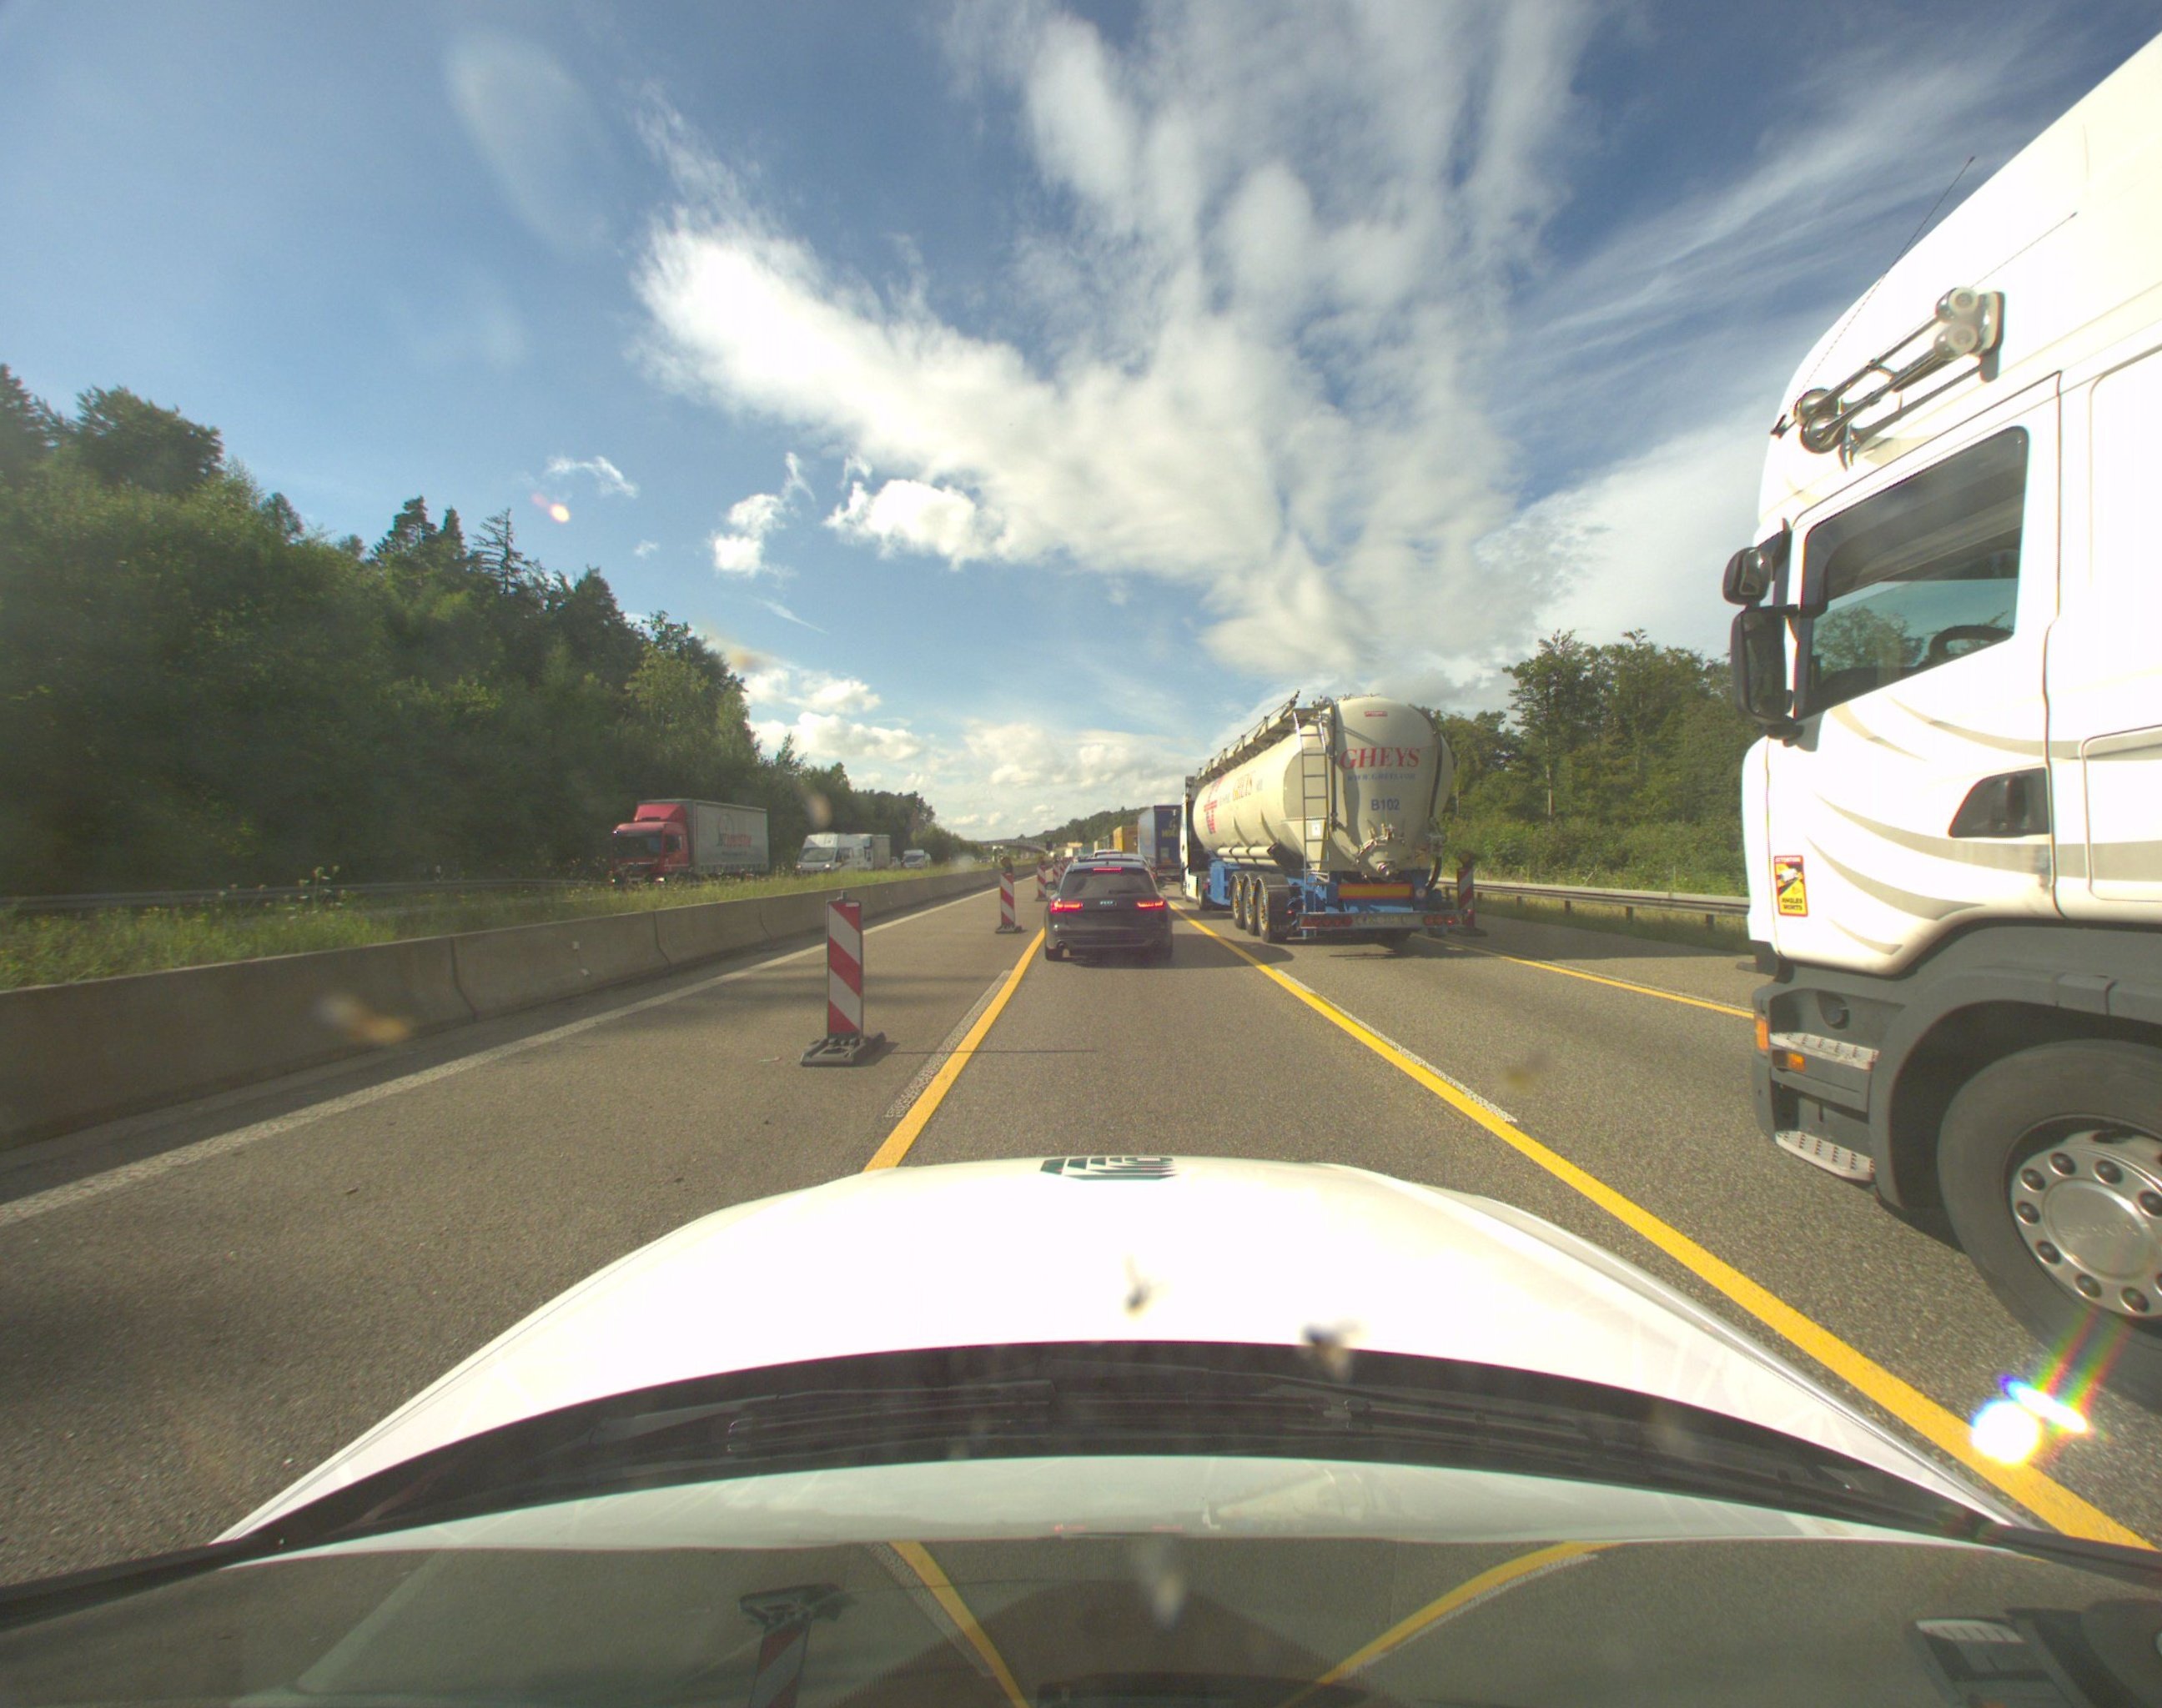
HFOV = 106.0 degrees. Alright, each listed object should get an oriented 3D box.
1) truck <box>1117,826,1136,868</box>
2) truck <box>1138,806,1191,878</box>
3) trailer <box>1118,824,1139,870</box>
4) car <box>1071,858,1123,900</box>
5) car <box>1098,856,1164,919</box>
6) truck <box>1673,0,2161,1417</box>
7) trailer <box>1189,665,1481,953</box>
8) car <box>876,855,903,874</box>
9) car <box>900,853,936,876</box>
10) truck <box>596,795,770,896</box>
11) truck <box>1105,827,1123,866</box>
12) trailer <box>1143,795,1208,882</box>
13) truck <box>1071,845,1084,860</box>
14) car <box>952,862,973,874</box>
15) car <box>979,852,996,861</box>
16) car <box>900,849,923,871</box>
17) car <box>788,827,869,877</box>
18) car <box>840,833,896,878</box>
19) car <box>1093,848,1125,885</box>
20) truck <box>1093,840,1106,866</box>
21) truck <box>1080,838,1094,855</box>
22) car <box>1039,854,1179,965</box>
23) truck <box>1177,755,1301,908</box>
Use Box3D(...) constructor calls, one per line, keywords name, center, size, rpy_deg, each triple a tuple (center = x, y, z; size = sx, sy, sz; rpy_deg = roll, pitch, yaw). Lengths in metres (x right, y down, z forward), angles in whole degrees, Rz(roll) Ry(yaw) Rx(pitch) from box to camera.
Box3D(name="truck", center=(4.233, -0.606, 76.557), size=(1.604, 3.897, 4.072), rpy_deg=(0, -1, 1))
Box3D(name="truck", center=(5.355, -0.669, 53.407), size=(2.796, 4.370, 7.793), rpy_deg=(0, -1, 1))
Box3D(name="trailer", center=(4.188, -0.596, 72.857), size=(1.611, 3.918, 6.489), rpy_deg=(0, -1, 1))
Box3D(name="car", center=(0.578, 0.838, 28.921), size=(1.745, 1.397, 3.609), rpy_deg=(0, -1, 1))
Box3D(name="car", center=(1.193, 0.795, 20.434), size=(1.518, 1.439, 3.286), rpy_deg=(0, -1, 1))
Box3D(name="truck", center=(3.996, -0.587, 0.838), size=(2.659, 3.959, 5.711), rpy_deg=(0, 0, 1))
Box3D(name="trailer", center=(4.308, -0.595, 17.463), size=(2.634, 3.943, 12.600), rpy_deg=(0, 0, 1))
Box3D(name="car", center=(-21.745, 1.190, 92.669), size=(1.986, 2.014, 4.001), rpy_deg=(0, -1, 1))
Box3D(name="car", center=(-13.187, 0.827, 66.134), size=(1.937, 1.813, 4.120), rpy_deg=(0, -1, 2))
Box3D(name="truck", center=(-17.825, -0.329, 37.595), size=(2.790, 3.992, 10.189), rpy_deg=(0, 0, 2))
Box3D(name="truck", center=(4.308, -0.916, 106.836), size=(1.987, 4.914, 9.561), rpy_deg=(0, 0, 0))
Box3D(name="trailer", center=(5.193, -0.753, 46.579), size=(2.795, 4.413, 10.435), rpy_deg=(0, -1, 1))
Box3D(name="truck", center=(-1.044, -0.387, 233.053), size=(3.295, 4.175, 9.695), rpy_deg=(0, 0, -2))
Box3D(name="car", center=(-14.547, 1.679, 99.939), size=(1.772, 1.387, 4.312), rpy_deg=(0, -1, 2))
Box3D(name="car", center=(-14.411, 0.443, 125.775), size=(1.951, 1.363, 4.289), rpy_deg=(0, -1, 2))
Box3D(name="car", center=(-21.295, 0.769, 102.531), size=(2.247, 2.643, 5.009), rpy_deg=(0, -1, -6))
Box3D(name="car", center=(-13.258, -0.021, 43.256), size=(2.152, 2.451, 6.333), rpy_deg=(0, -1, 2))
Box3D(name="car", center=(-17.013, 0.150, 65.547), size=(2.478, 3.370, 7.453), rpy_deg=(0, -1, 1))
Box3D(name="car", center=(1.424, 0.625, 42.044), size=(1.575, 1.837, 3.112), rpy_deg=(0, -1, 1))
Box3D(name="truck", center=(3.178, -0.097, 139.868), size=(2.130, 4.257, 7.072), rpy_deg=(0, -1, 1))
Box3D(name="truck", center=(1.529, -1.792, 202.493), size=(3.294, 4.175, 9.699), rpy_deg=(-1, 0, 0))
Box3D(name="car", center=(0.427, 0.760, 12.880), size=(1.842, 1.463, 4.001), rpy_deg=(-1, -1, 1))
Box3D(name="truck", center=(4.468, -0.558, 24.176), size=(2.649, 3.972, 5.780), rpy_deg=(0, -1, 1))
